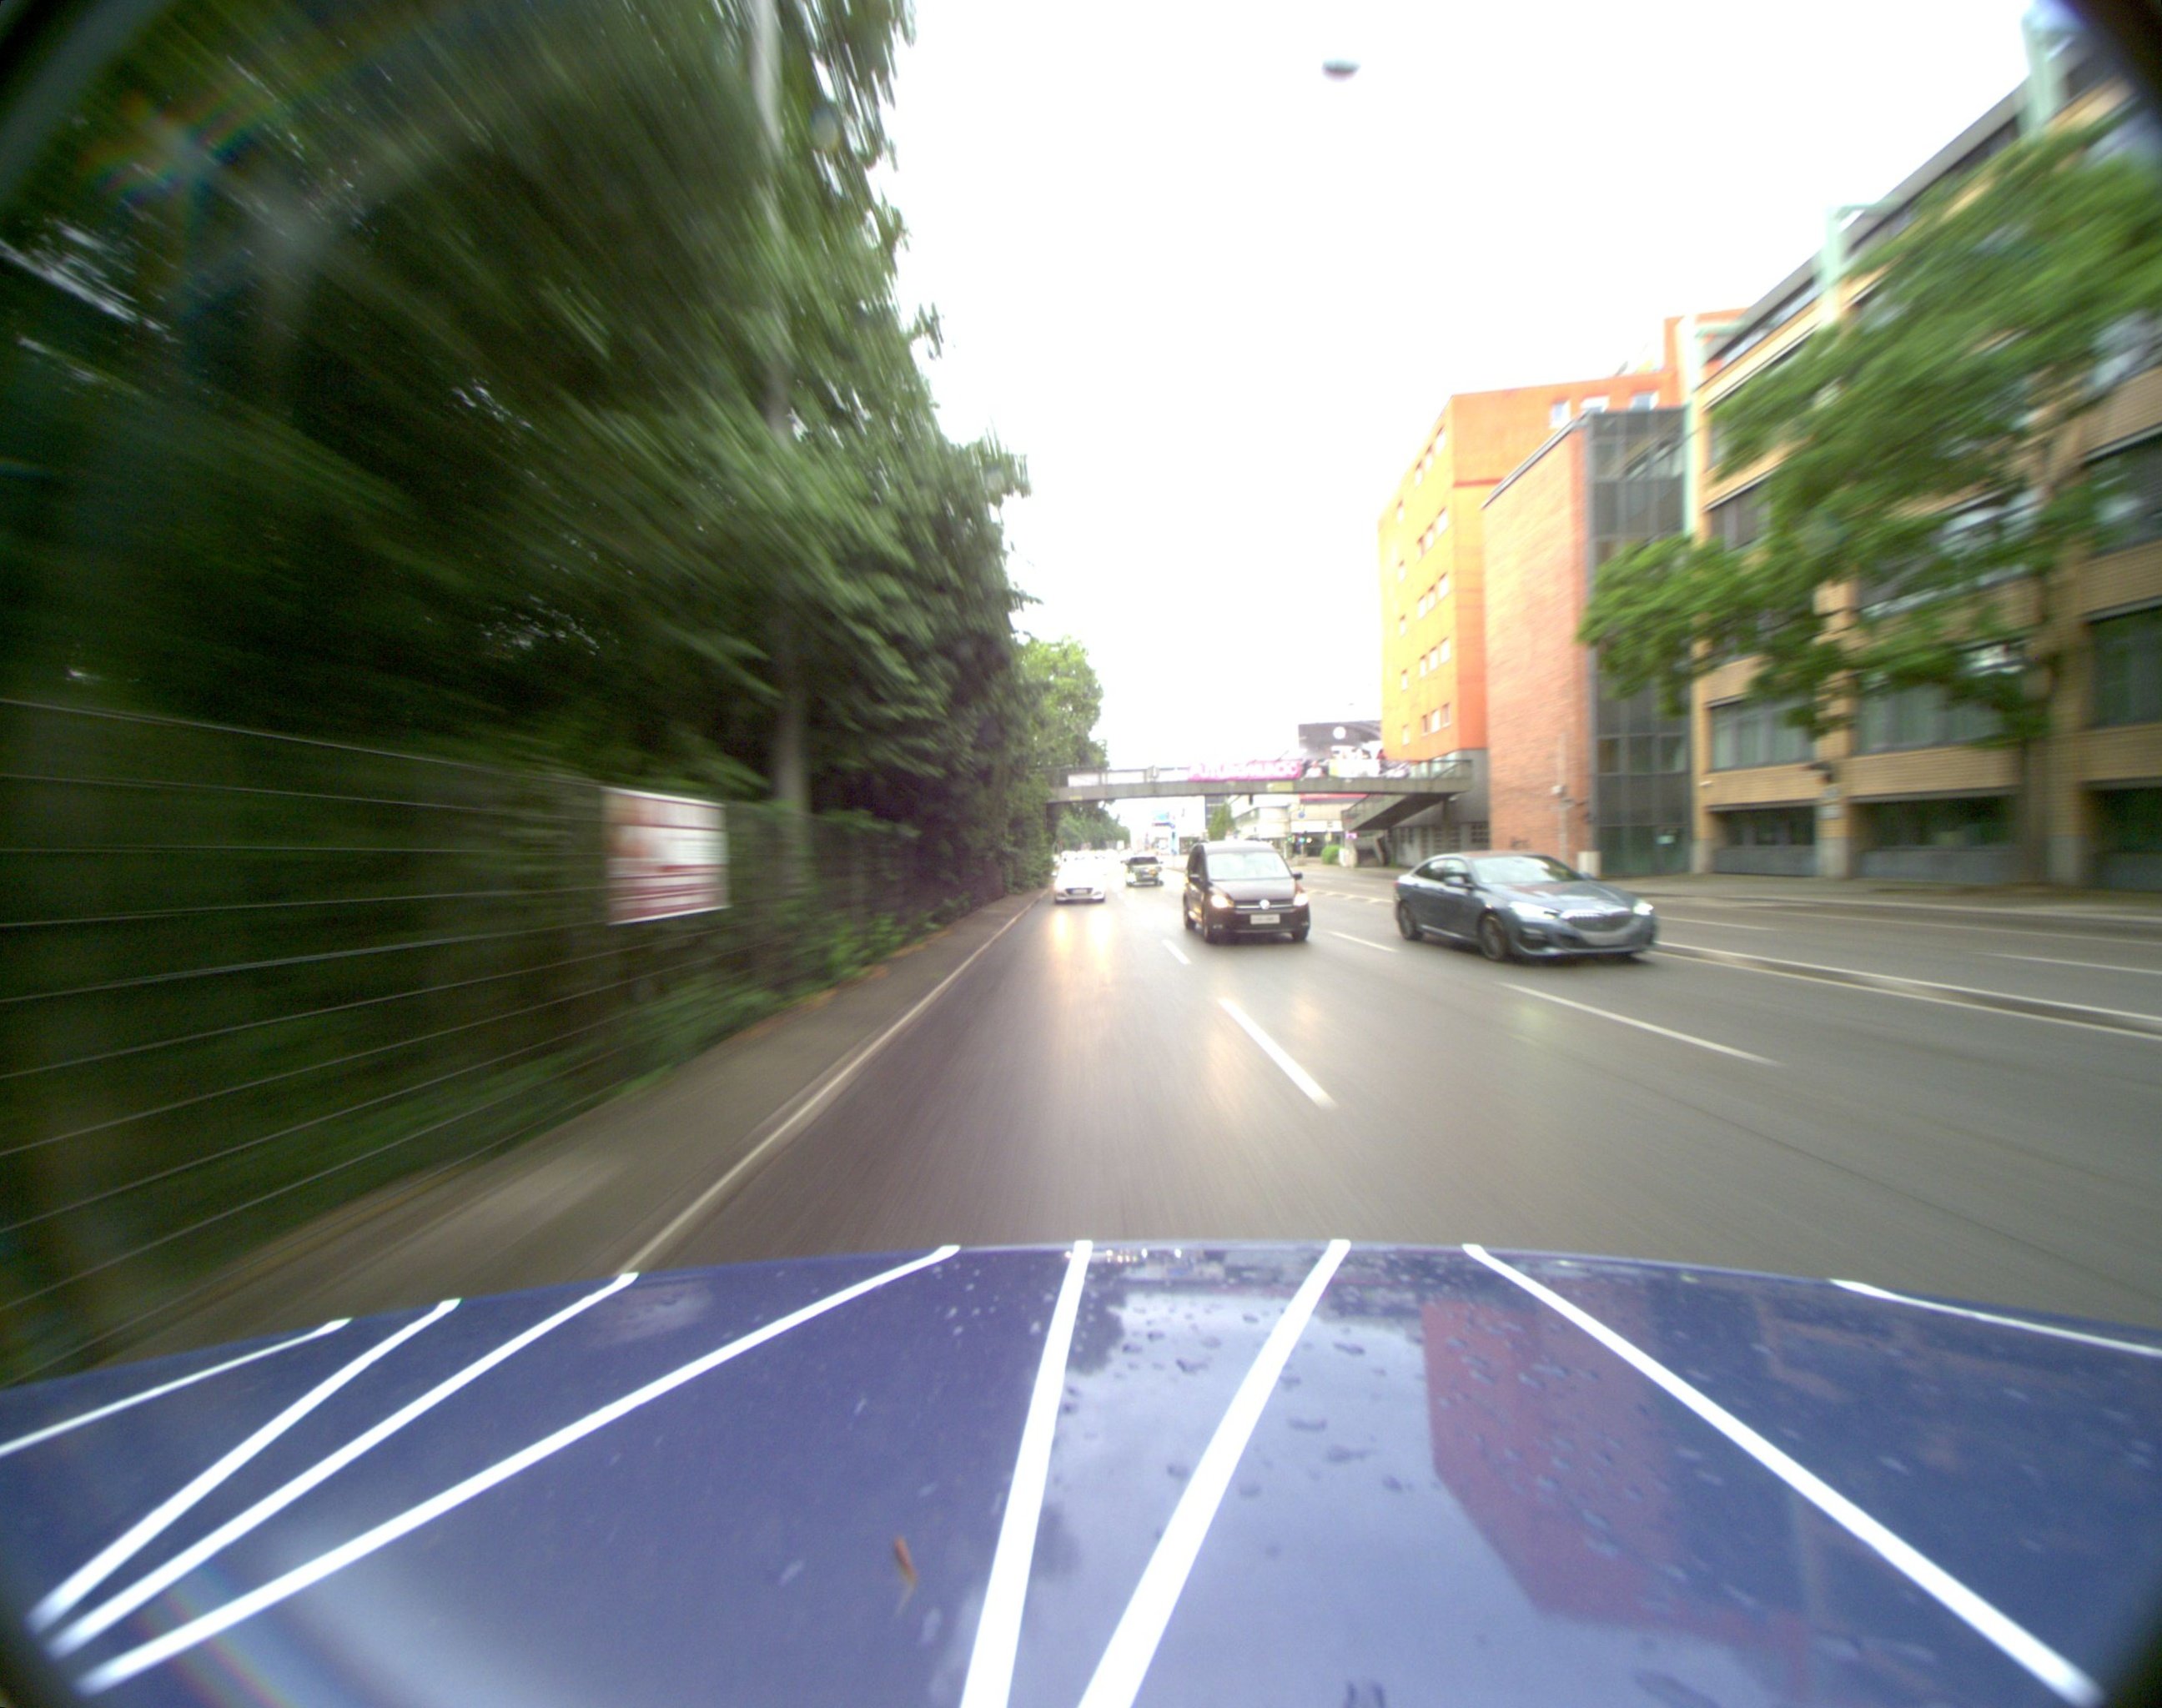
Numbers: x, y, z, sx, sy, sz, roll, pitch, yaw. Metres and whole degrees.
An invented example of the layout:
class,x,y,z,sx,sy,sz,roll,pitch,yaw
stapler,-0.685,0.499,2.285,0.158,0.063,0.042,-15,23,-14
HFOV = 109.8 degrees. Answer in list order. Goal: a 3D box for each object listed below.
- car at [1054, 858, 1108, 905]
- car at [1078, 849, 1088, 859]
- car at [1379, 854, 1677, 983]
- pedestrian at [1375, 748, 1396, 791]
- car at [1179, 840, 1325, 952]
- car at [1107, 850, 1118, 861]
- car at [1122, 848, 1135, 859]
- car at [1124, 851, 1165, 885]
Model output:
class,x,y,z,sx,sy,sz,roll,pitch,yaw
car,0.007,0.940,27.387,1.731,1.431,3.999,-3,1,0
car,0.497,0.035,155.998,1.878,1.762,3.999,-3,1,1
car,6.064,0.752,11.064,1.669,1.406,4.540,-3,0,1
pedestrian,16.729,-4.634,41.793,0.833,2.242,0.738,-1,1,-5
car,2.994,0.682,14.160,1.842,1.780,4.000,0,0,1
car,5.807,0.290,139.592,1.878,1.762,3.999,-3,1,1
car,6.814,-0.078,109.501,1.730,1.502,3.732,-2,1,5
car,3.262,0.697,39.651,1.731,1.604,3.999,-3,1,0
